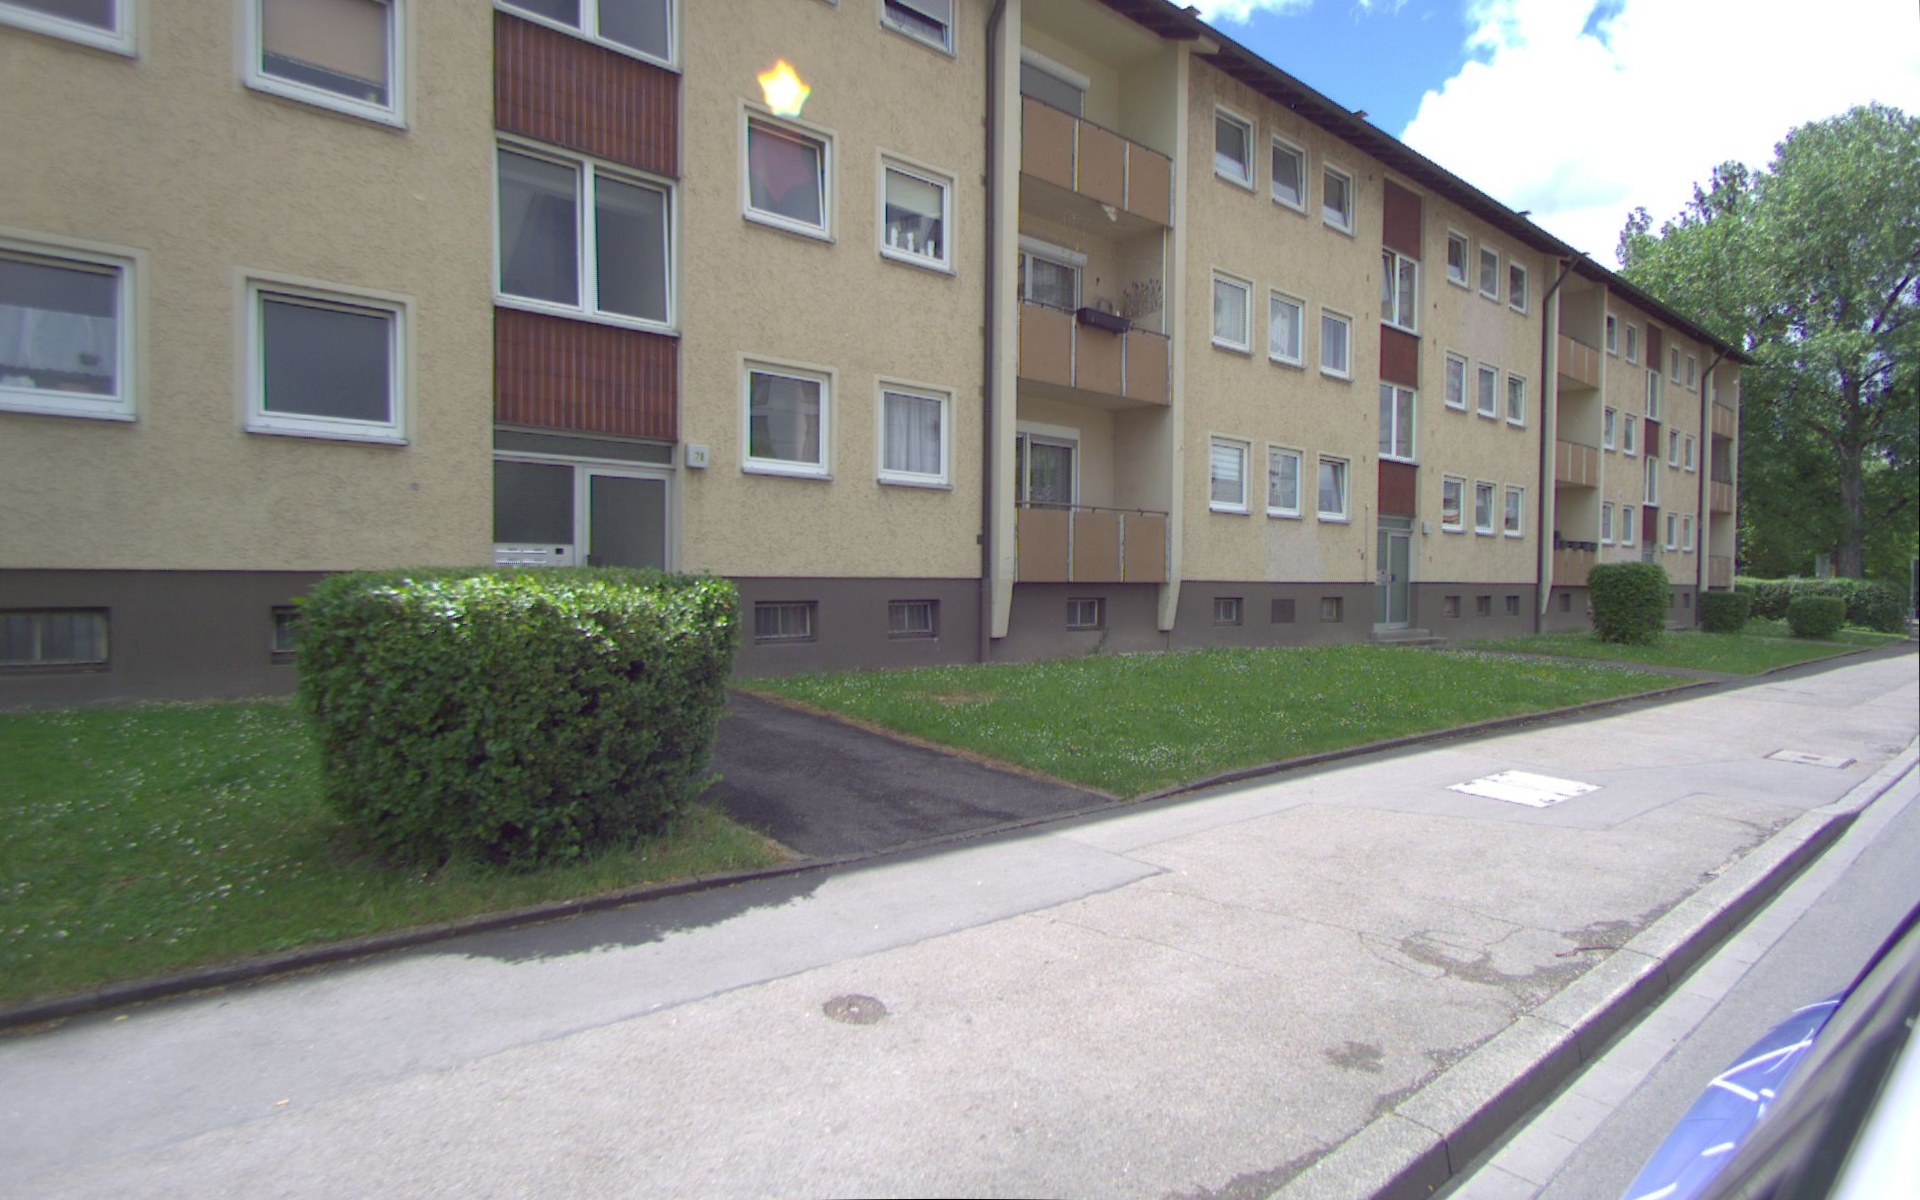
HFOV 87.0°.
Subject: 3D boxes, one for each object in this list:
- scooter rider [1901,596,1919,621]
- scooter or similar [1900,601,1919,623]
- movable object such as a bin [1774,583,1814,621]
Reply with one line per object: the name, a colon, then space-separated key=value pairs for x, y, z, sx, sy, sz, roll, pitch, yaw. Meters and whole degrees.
scooter rider: x=49.545 y=0.461 z=52.557 sx=1.260 sy=1.235 sz=0.886 roll=2 pitch=1 yaw=-44
scooter or similar: x=49.586 y=0.649 z=52.614 sx=2.079 sy=1.078 sz=0.891 roll=2 pitch=1 yaw=-44
movable object such as a bin: x=33.566 y=0.089 z=40.734 sx=0.748 sy=1.457 sz=1.099 roll=2 pitch=1 yaw=-43
